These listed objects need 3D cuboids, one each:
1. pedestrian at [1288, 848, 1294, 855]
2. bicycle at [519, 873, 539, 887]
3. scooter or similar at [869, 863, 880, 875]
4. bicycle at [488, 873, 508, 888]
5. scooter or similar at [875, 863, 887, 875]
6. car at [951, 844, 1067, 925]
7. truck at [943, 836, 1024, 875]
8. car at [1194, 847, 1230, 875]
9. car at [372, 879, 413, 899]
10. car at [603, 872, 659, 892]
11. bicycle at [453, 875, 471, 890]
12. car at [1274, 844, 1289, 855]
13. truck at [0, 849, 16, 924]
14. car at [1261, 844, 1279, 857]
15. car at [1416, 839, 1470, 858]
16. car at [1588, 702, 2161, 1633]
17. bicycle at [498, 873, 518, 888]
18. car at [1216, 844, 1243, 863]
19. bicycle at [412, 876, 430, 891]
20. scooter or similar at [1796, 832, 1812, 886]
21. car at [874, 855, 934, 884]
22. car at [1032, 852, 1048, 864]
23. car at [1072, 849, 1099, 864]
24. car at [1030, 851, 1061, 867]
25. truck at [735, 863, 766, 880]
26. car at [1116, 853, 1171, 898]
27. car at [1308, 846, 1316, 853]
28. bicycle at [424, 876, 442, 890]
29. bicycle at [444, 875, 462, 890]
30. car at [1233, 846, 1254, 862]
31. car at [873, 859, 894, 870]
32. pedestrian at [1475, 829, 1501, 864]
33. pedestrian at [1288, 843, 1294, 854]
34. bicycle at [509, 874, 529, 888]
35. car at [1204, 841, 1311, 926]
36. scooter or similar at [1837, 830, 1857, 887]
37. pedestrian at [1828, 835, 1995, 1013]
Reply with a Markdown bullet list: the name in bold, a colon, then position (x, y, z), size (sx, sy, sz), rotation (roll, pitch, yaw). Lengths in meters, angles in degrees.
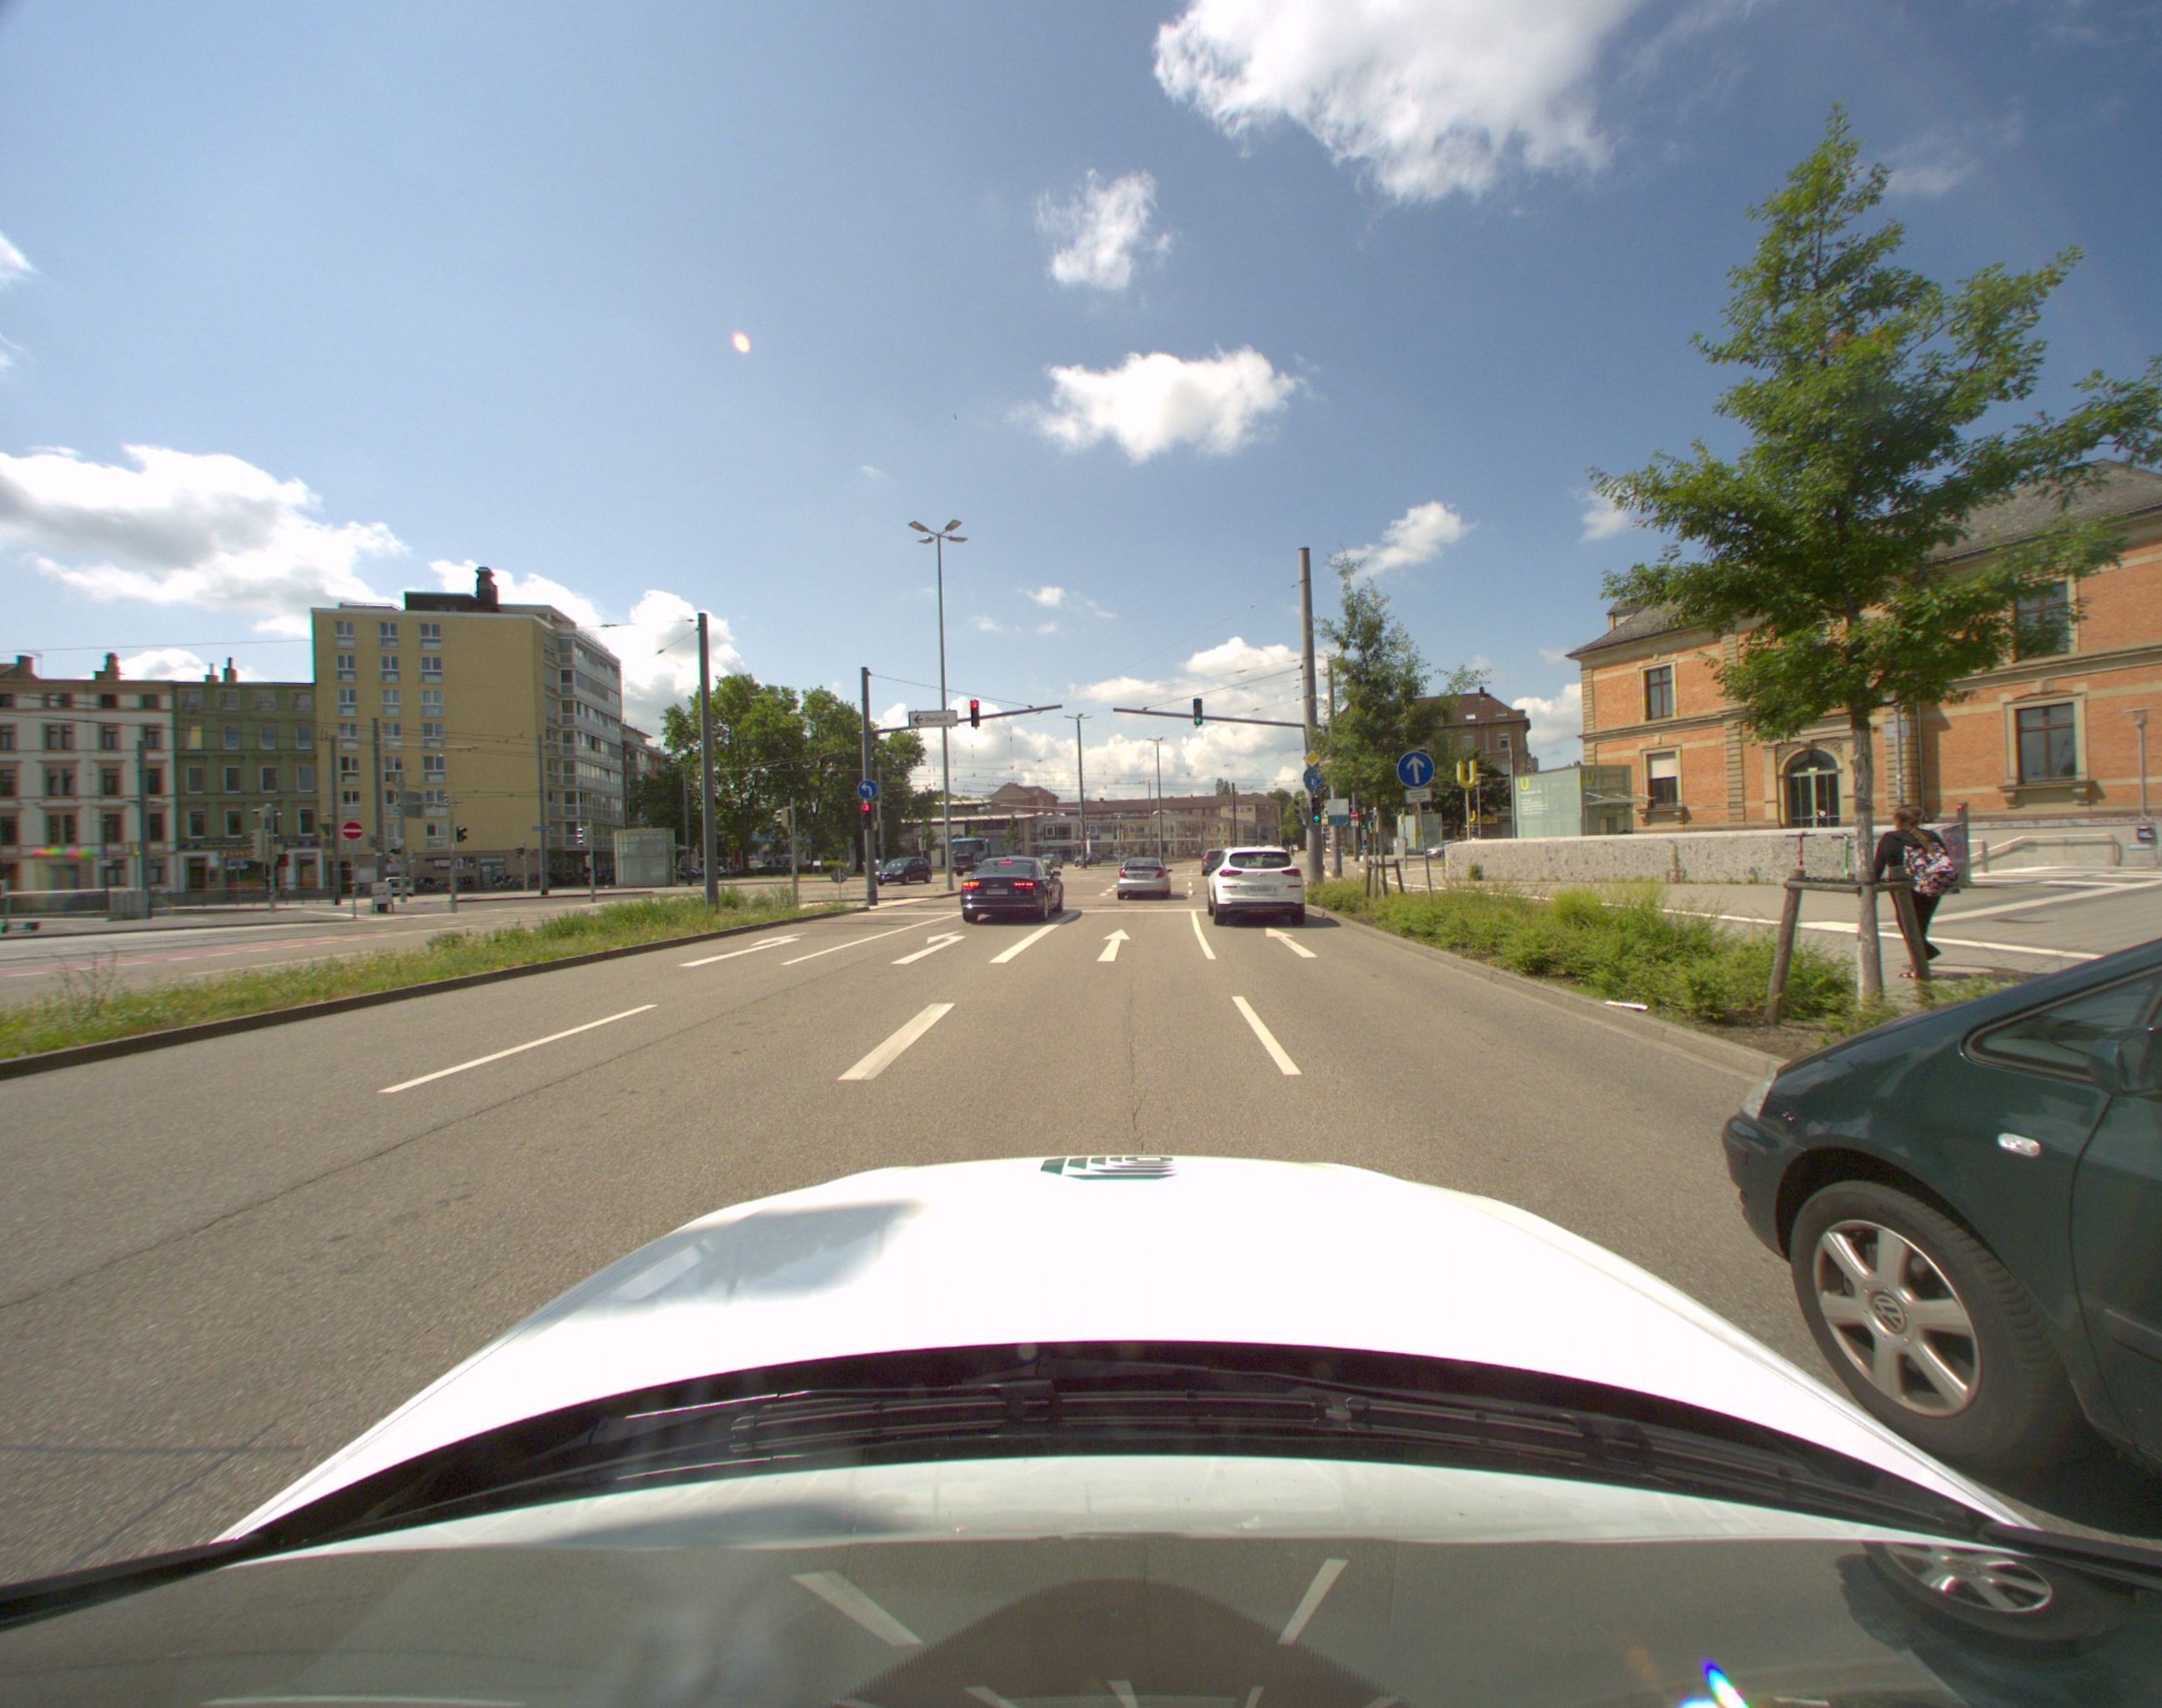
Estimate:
- **pedestrian**: position (27.895, -0.310, 108.199), size (0.520, 0.906, 1.568), rotation (-1, -1, 19)
- **bicycle**: position (-45.603, 2.182, 67.241), size (2.107, 1.147, 0.515), rotation (-2, -2, 31)
- **scooter or similar**: position (-18.263, 1.332, 72.079), size (0.374, 1.115, 1.101), rotation (-2, -1, 23)
- **bicycle**: position (-47.320, 2.155, 66.087), size (2.107, 1.147, 0.515), rotation (-2, -2, 31)
- **scooter or similar**: position (-17.629, 1.326, 71.803), size (0.374, 1.115, 1.101), rotation (-2, -1, 23)
- **car**: position (-1.566, 0.629, 19.591), size (1.919, 1.641, 4.799), rotation (-2, 0, 5)
- **truck**: position (-7.676, 0.079, 65.817), size (2.862, 2.852, 8.834), rotation (-2, 0, 18)
- **car**: position (7.297, 0.373, 45.491), size (1.870, 1.419, 3.967), rotation (-2, 0, 9)
- **car**: position (-48.913, 2.470, 57.845), size (3.313, 1.321, 1.669), rotation (-2, 0, 40)
- **car**: position (-40.995, 2.522, 74.245), size (4.105, 1.665, 1.862), rotation (-1, -1, -11)
- **bicycle**: position (-49.973, 2.286, 65.751), size (2.107, 1.147, 0.515), rotation (-2, -2, 34)
- **car**: position (30.454, -0.674, 123.679), size (1.865, 1.641, 3.977), rotation (-2, 0, 20)
- **truck**: position (-59.868, 1.764, 42.023), size (5.437, 3.969, 2.696), rotation (-1, -1, -13)
- **car**: position (25.627, -0.439, 110.346), size (1.865, 1.641, 3.977), rotation (-2, 0, 20)
- **car**: position (31.197, -0.462, 70.140), size (4.135, 1.473, 1.714), rotation (-2, 0, -17)
- **car**: position (2.890, 0.577, 1.016), size (1.788, 1.723, 4.448), rotation (0, -1, 1)
- **bicycle**: position (-46.767, 2.179, 66.460), size (2.107, 1.147, 0.515), rotation (-2, -2, 31)
- **car**: position (13.782, -0.065, 75.467), size (1.866, 1.641, 3.975), rotation (-2, 0, 18)
- **bicycle**: position (-52.565, 2.327, 64.846), size (2.107, 1.147, 0.515), rotation (-2, -2, 34)
- **scooter or similar**: position (15.832, 0.091, 17.829), size (0.228, 1.123, 1.291), rotation (-2, 1, 42)
- **car**: position (-10.129, 0.859, 46.952), size (1.641, 1.469, 4.170), rotation (-2, 0, 15)
- **car**: position (-6.078, 0.609, 120.292), size (1.986, 1.574, 4.001), rotation (-1, -1, 2)
- **car**: position (0.525, 0.222, 89.035), size (1.704, 1.531, 4.141), rotation (-2, 0, 19)
- **car**: position (-3.416, 0.436, 79.561), size (1.640, 1.433, 4.291), rotation (-2, 0, 17)
- **truck**: position (-45.958, 2.396, 113.324), size (1.793, 2.120, 4.791), rotation (-2, 0, 9)
- **car**: position (2.198, 0.691, 28.299), size (1.733, 1.391, 4.186), rotation (-1, 0, 5)
- **car**: position (62.916, -1.198, 221.513), size (1.865, 1.693, 3.977), rotation (-2, 0, 20)
- **bicycle**: position (-51.855, 2.332, 65.160), size (2.107, 1.147, 0.515), rotation (-2, -2, 34)
- **bicycle**: position (-50.467, 2.290, 65.449), size (2.107, 1.147, 0.515), rotation (-2, -2, 34)
- **car**: position (18.135, -0.047, 90.815), size (1.866, 1.641, 3.975), rotation (-2, 0, 17)
- **car**: position (-29.468, 1.601, 121.542), size (1.986, 1.574, 4.179), rotation (-1, -1, 2)
- **pedestrian**: position (21.429, -0.377, 42.887), size (0.760, 1.751, 0.855), rotation (-3, -2, -29)
- **pedestrian**: position (27.872, -0.693, 108.207), size (0.686, 1.457, 0.683), rotation (-1, -1, 19)
- **bicycle**: position (-46.111, 2.191, 66.821), size (2.107, 1.147, 0.537), rotation (-2, -2, 32)
- **car**: position (3.822, 0.569, 18.305), size (1.872, 1.641, 4.240), rotation (-2, 0, 6)
- **scooter or similar**: position (16.007, 0.077, 17.026), size (0.228, 1.123, 1.462), rotation (-2, 1, 42)
- **pedestrian**: position (7.826, 0.640, 7.718), size (0.752, 1.590, 0.762), rotation (-1, -1, 3)
